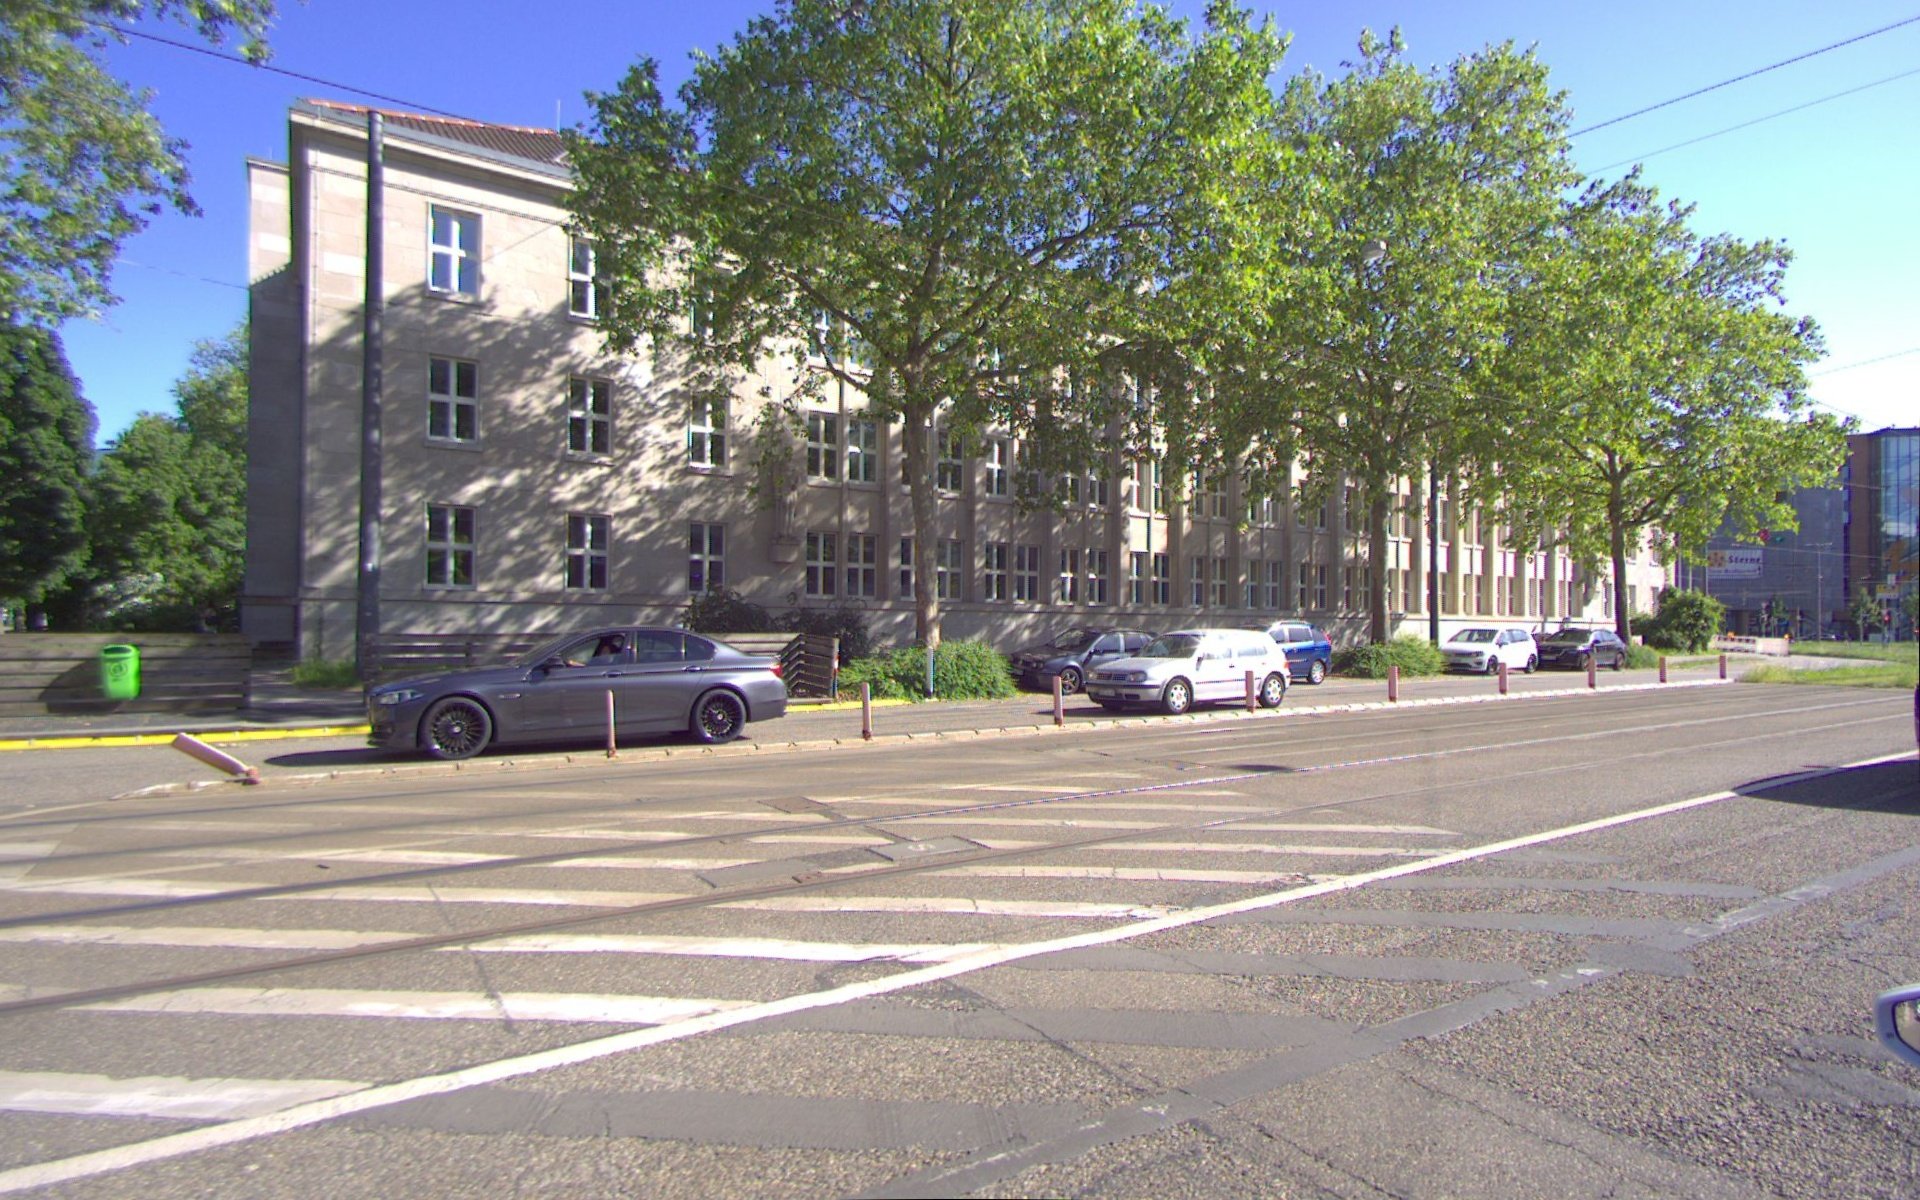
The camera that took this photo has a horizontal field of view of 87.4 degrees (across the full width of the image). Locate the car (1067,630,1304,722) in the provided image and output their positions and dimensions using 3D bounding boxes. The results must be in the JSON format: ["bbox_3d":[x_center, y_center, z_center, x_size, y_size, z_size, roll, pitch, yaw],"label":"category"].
[{"bbox_3d":[4.083,1.289,17.989,4.127,1.472,1.819,1,-2,-34],"label":"car"}]

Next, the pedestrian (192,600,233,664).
[{"bbox_3d":[-23.024,0.987,30.952,0.892,1.921,0.805,1,-1,-30],"label":"pedestrian"}]

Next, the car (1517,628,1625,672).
[{"bbox_3d":[22.398,1.777,36.769,4.138,1.512,1.819,1,-2,-34],"label":"car"}]

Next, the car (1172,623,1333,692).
[{"bbox_3d":[7.701,1.437,26.264,4.355,1.661,1.817,1,-2,-37],"label":"car"}]

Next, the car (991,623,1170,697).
[{"bbox_3d":[2.835,1.321,23.192,4.150,1.568,1.660,1,-2,-37],"label":"car"}]

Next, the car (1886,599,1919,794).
[{"bbox_3d":[10.694,0.915,9.579,4.597,1.704,1.824,2,-1,-35],"label":"car"}]

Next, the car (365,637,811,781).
[{"bbox_3d":[-4.466,1.200,12.403,4.903,1.472,1.821,1,-2,-31],"label":"car"}]

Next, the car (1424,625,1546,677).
[{"bbox_3d":[17.345,1.640,33.119,4.353,1.608,1.818,1,-2,-36],"label":"car"}]
